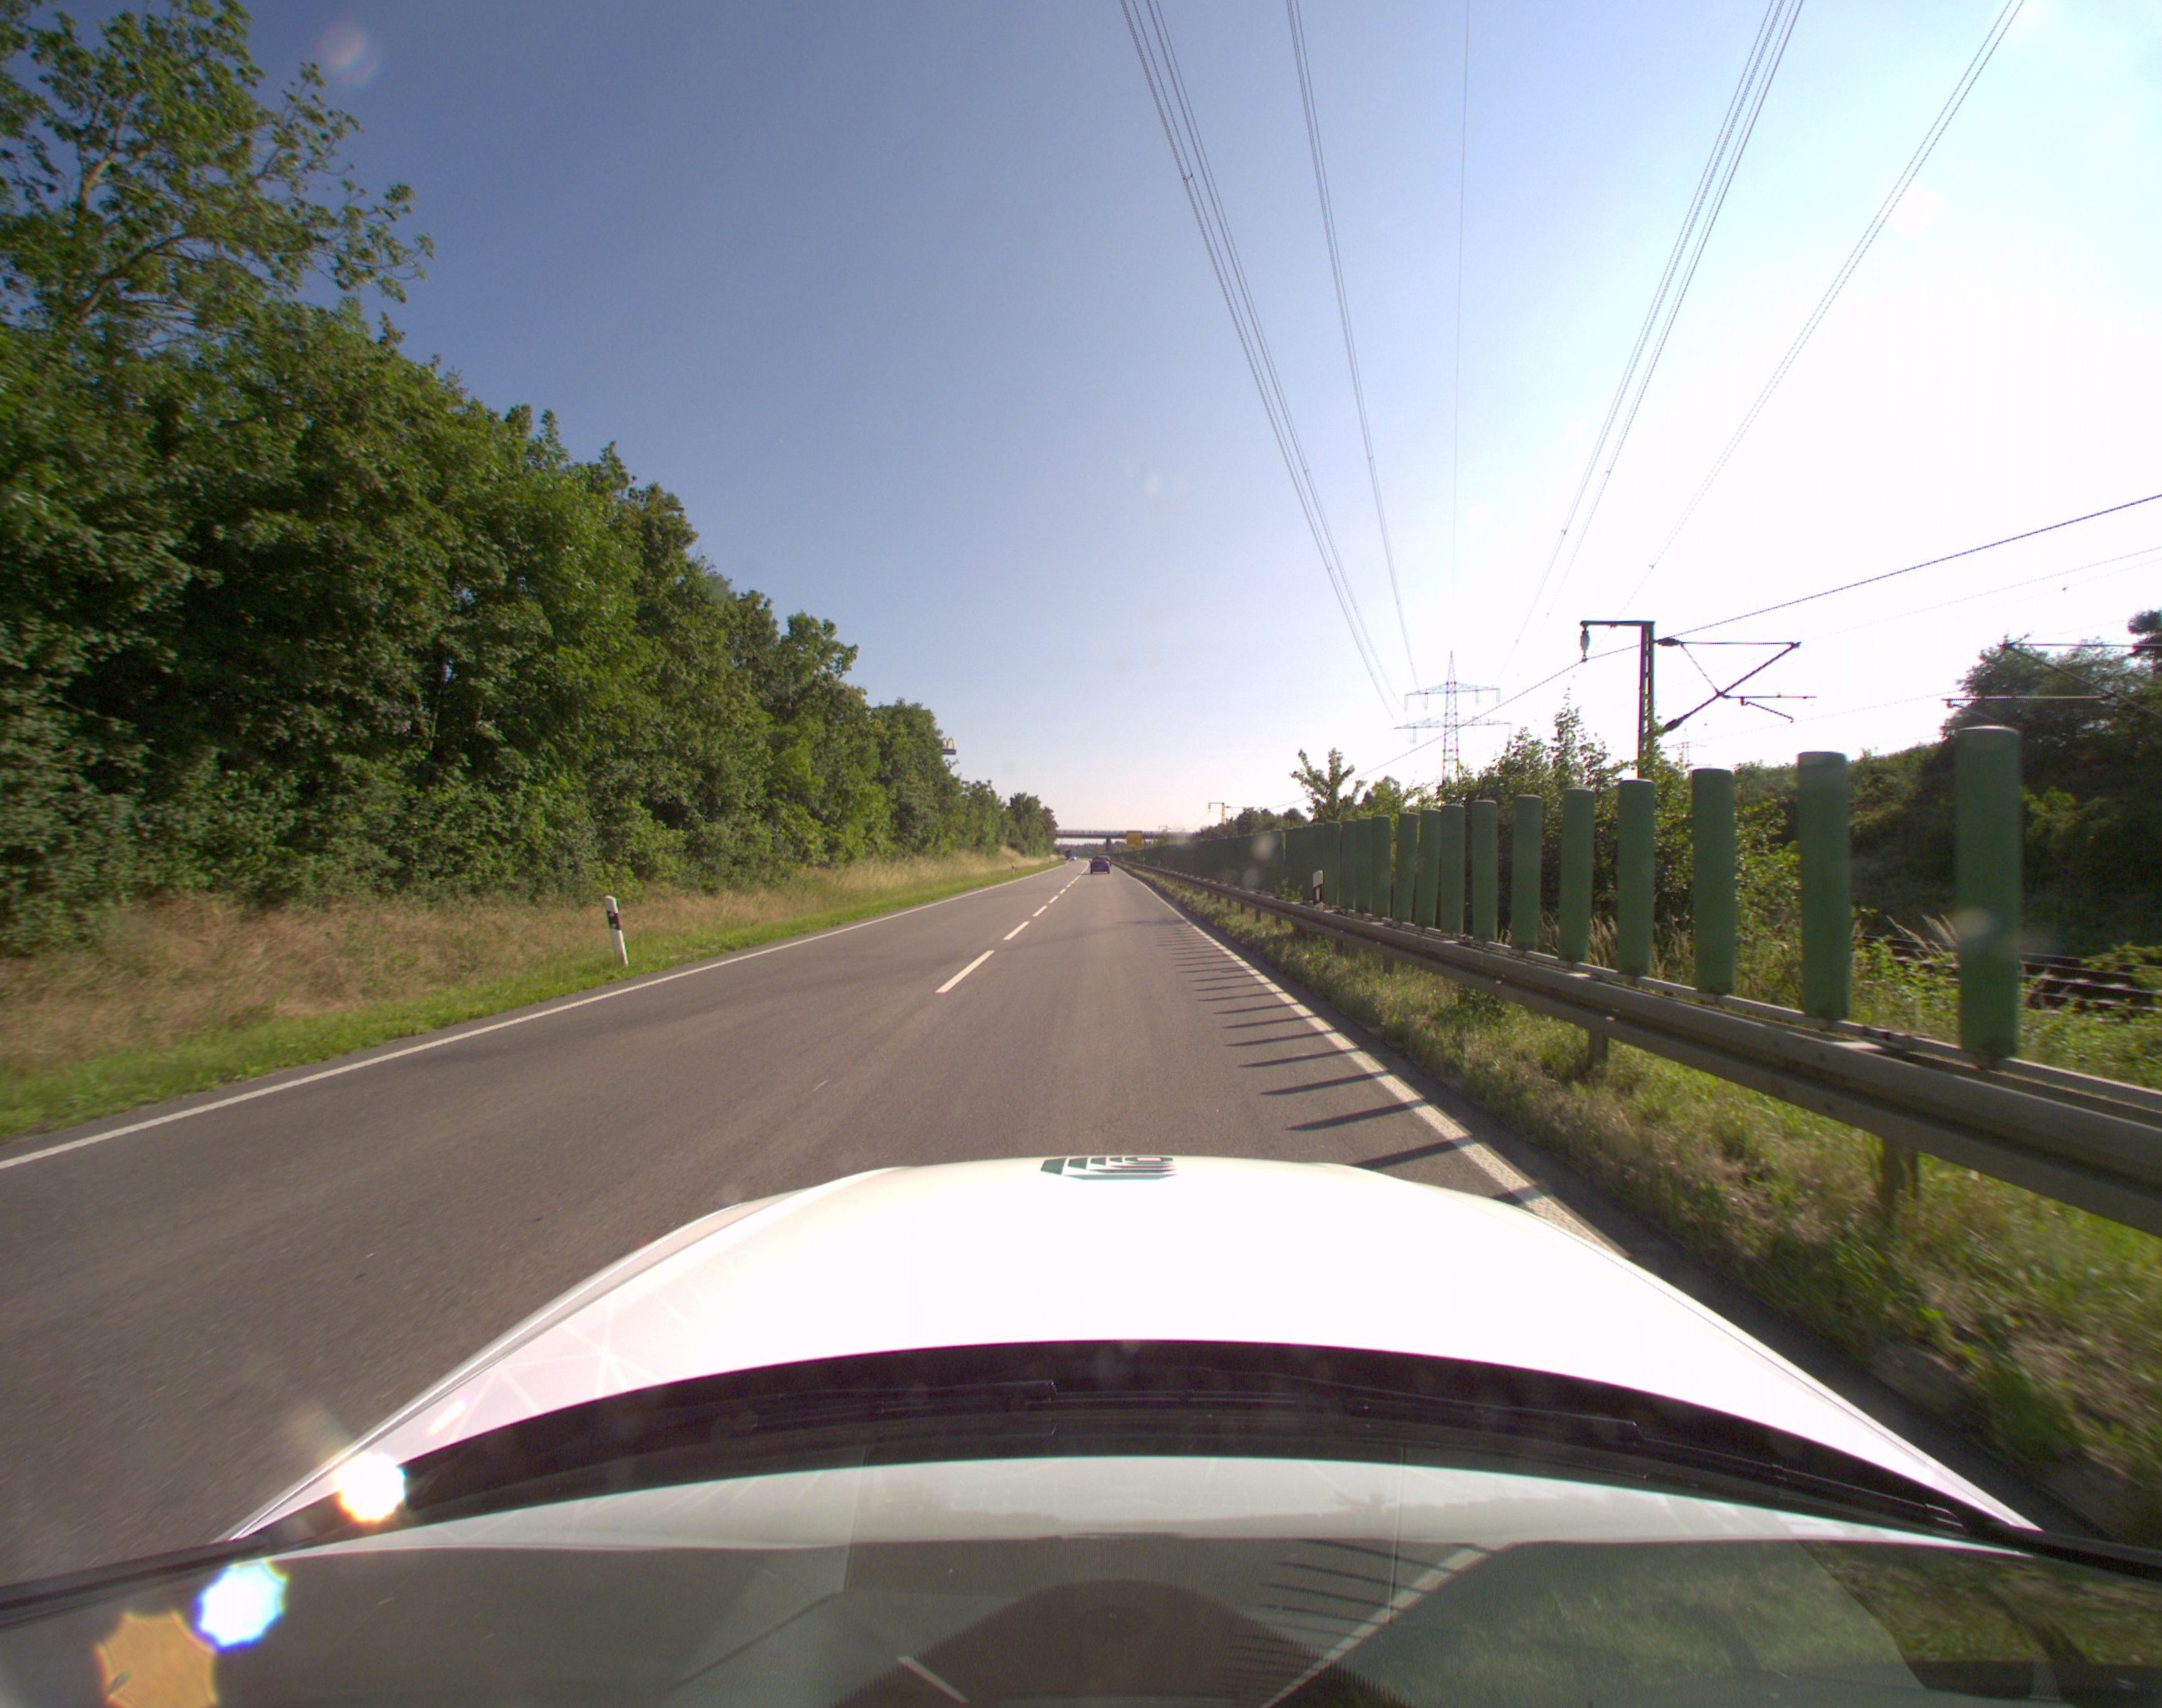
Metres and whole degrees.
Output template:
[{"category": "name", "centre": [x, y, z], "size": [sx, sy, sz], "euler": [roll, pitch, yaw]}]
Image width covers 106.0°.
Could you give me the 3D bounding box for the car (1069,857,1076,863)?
[{"category": "car", "centre": [-2.184, 1.656, 215.565], "size": [1.790, 1.593, 3.999], "euler": [0, -1, 0]}]

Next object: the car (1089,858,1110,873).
[{"category": "car", "centre": [1.537, 0.944, 68.475], "size": [1.658, 1.261, 3.999], "euler": [0, -1, 0]}]

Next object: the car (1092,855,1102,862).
[{"category": "car", "centre": [3.091, 0.944, 159.169], "size": [1.889, 1.418, 3.999], "euler": [0, -1, 0]}]
